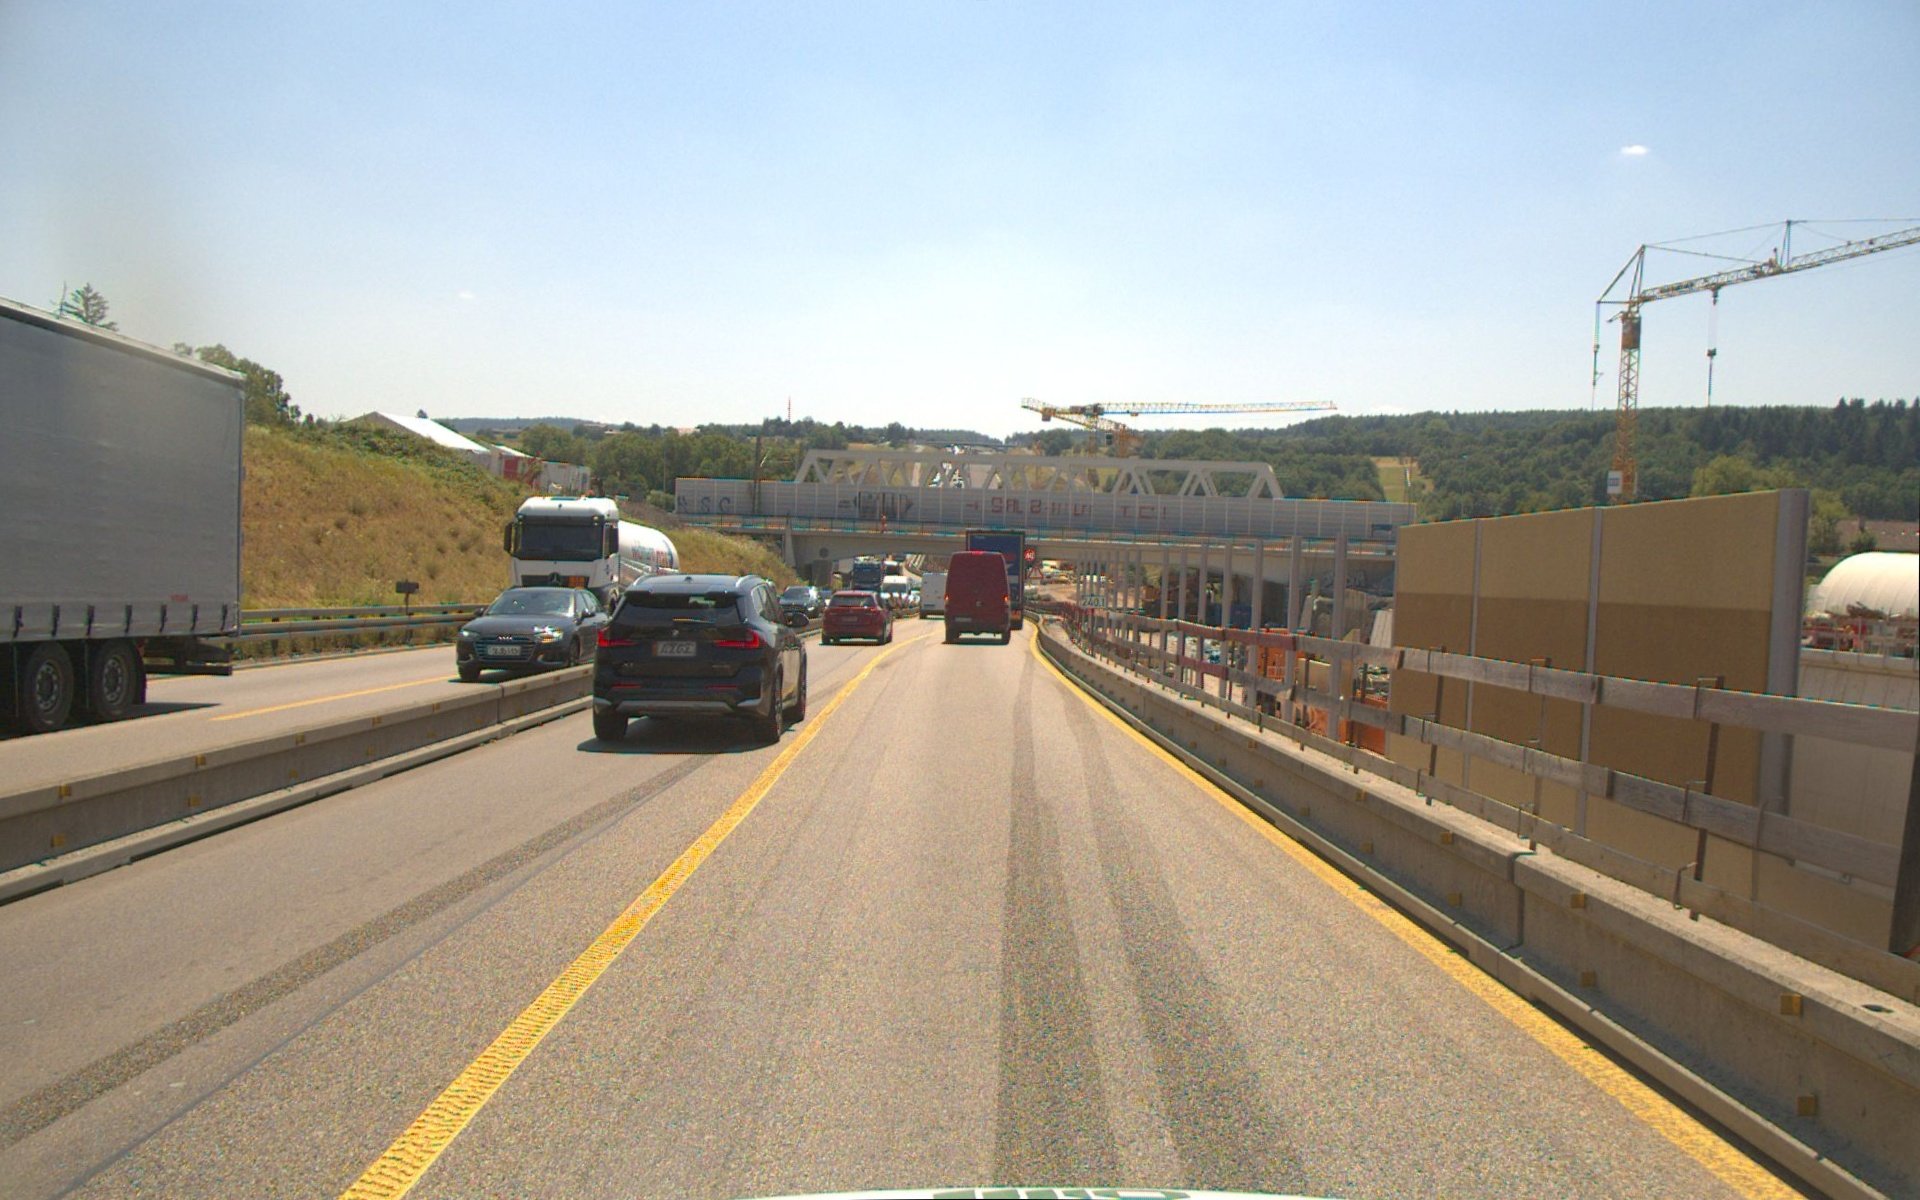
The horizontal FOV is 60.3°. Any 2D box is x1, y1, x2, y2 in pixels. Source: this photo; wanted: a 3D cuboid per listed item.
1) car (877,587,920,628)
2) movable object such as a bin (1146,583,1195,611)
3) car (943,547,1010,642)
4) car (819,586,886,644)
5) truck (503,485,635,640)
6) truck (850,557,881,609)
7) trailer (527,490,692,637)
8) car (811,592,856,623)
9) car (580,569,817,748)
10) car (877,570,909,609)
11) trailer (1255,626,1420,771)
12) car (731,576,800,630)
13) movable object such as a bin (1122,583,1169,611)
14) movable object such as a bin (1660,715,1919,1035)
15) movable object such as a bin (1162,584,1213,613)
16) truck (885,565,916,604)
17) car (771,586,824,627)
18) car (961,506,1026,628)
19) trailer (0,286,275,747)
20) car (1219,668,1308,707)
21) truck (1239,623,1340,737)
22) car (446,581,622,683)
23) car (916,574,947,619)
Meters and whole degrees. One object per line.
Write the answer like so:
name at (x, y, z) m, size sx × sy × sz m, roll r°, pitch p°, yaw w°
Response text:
car at (-2.631, 0.289, 71.583) m, size 1.802 × 1.683 × 4.164 m, roll 0°, pitch 1°, yaw -1°
movable object such as a bin at (22.462, -0.291, 176.323) m, size 5.038 × 2.856 × 2.144 m, roll 1°, pitch 0°, yaw 5°
car at (0.528, -0.187, 50.465) m, size 1.947 × 2.737 × 4.624 m, roll 0°, pitch 1°, yaw 1°
car at (-2.978, 0.386, 46.464) m, size 1.740 × 1.544 × 4.204 m, roll 0°, pitch 1°, yaw -2°
truck at (-10.252, -0.961, 43.658) m, size 2.537 × 3.868 × 3.766 m, roll 1°, pitch 0°, yaw -1°
truck at (-7.577, -1.387, 133.309) m, size 2.310 × 4.085 × 3.998 m, roll 1°, pitch 0°, yaw -2°
trailer at (-10.333, -1.029, 50.156) m, size 2.537 × 3.868 × 11.916 m, roll 1°, pitch 1°, yaw -1°
car at (-6.566, 0.346, 86.262) m, size 1.921 × 1.489 × 4.940 m, roll 1°, pitch 1°, yaw 0°
car at (-2.618, 0.517, 17.568) m, size 1.841 × 1.646 × 4.498 m, roll 0°, pitch 1°, yaw -1°
car at (-4.795, -0.757, 119.349) m, size 1.953 × 2.652 × 7.010 m, roll 1°, pitch 1°, yaw 0°
trailer at (12.419, 3.040, 55.889) m, size 2.702 × 3.954 × 13.051 m, roll 1°, pitch 1°, yaw 1°
car at (-6.629, 0.060, 56.813) m, size 1.841 × 1.775 × 4.482 m, roll 0°, pitch 1°, yaw 0°
movable object such as a bin at (20.363, -0.317, 181.650) m, size 5.038 × 2.856 × 2.144 m, roll 1°, pitch 0°, yaw 5°
movable object such as a bin at (13.727, 3.856, 23.976) m, size 2.906 × 3.548 × 9.149 m, roll 3°, pitch 0°, yaw -2°
movable object such as a bin at (23.372, -0.147, 169.794) m, size 5.038 × 2.856 × 2.144 m, roll 1°, pitch 0°, yaw 5°
truck at (-6.312, -1.682, 177.217) m, size 2.776 × 3.919 × 12.913 m, roll 1°, pitch 1°, yaw 0°
car at (-6.905, 0.235, 70.785) m, size 1.754 × 1.639 × 4.733 m, roll 1°, pitch 1°, yaw 0°
car at (1.425, -1.436, 74.788) m, size 2.567 × 5.120 × 10.395 m, roll 0°, pitch 1°, yaw -1°
trailer at (-9.834, -0.751, 13.880) m, size 2.643 × 4.094 × 13.700 m, roll 1°, pitch 1°, yaw -1°
car at (17.198, 4.949, 93.808) m, size 4.631 × 1.804 × 2.001 m, roll 3°, pitch 2°, yaw 1°
truck at (12.507, 2.962, 63.249) m, size 2.702 × 3.954 × 5.882 m, roll 1°, pitch 1°, yaw 1°
car at (-6.870, 0.468, 27.185) m, size 1.743 × 1.483 × 4.719 m, roll 1°, pitch 0°, yaw -1°
car at (-1.617, -0.232, 94.486) m, size 1.740 × 2.484 × 4.205 m, roll 0°, pitch 1°, yaw -1°
